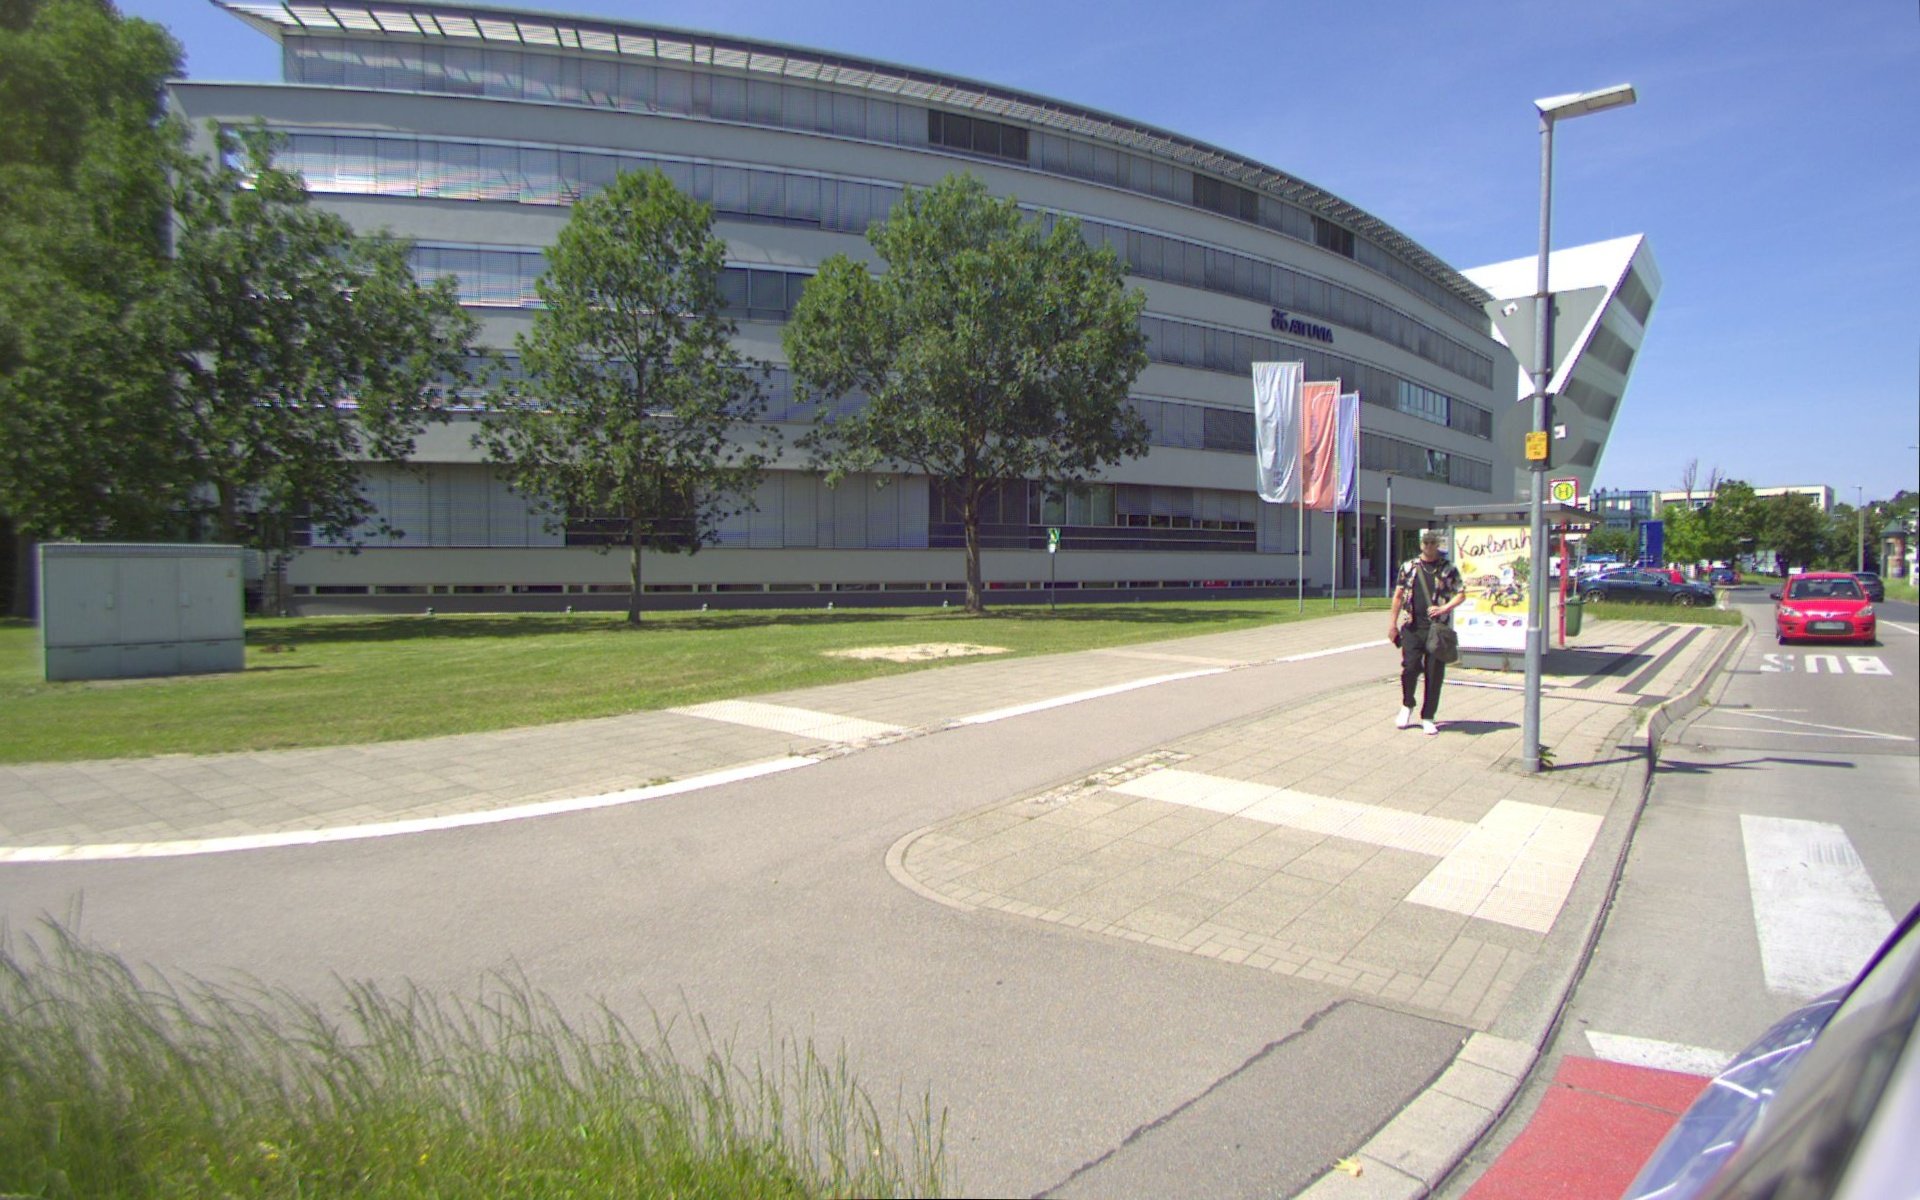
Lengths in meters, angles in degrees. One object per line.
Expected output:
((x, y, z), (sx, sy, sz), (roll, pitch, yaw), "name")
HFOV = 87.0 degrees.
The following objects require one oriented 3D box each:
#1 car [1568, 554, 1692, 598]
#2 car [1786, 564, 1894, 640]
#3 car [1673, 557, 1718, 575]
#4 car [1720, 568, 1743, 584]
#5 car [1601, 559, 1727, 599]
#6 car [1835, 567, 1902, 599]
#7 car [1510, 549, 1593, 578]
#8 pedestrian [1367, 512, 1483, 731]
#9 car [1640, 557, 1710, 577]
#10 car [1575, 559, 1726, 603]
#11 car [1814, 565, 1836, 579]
((26.859, -0.997, 40.630), (3.983, 1.675, 1.812), (2, 3, 41), "car")
((19.199, 0.002, 22.160), (1.656, 1.522, 3.309), (0, 1, 40), "car")
((88.936, -4.112, 122.320), (1.676, 2.000, 4.197), (-2, 1, -45), "car")
((76.881, -2.433, 100.841), (1.793, 1.517, 3.948), (-1, 1, 37), "car")
((30.281, -0.937, 43.598), (4.316, 1.582, 1.761), (3, 3, 40), "car")
((44.891, -0.860, 50.083), (1.989, 1.497, 4.233), (2, 2, 36), "car")
((60.398, -3.695, 103.501), (2.217, 2.695, 6.956), (-2, 1, -42), "car")
((4.157, 0.151, 9.038), (0.707, 1.844, 0.815), (3, 3, 39), "pedestrian")
((84.020, -3.914, 119.029), (2.130, 2.176, 6.481), (-2, 1, -45), "car")
((25.865, -0.759, 37.983), (4.558, 1.449, 1.803), (4, 4, 38), "car")
((106.664, -3.479, 124.831), (1.991, 1.652, 3.943), (0, 1, 40), "car")
